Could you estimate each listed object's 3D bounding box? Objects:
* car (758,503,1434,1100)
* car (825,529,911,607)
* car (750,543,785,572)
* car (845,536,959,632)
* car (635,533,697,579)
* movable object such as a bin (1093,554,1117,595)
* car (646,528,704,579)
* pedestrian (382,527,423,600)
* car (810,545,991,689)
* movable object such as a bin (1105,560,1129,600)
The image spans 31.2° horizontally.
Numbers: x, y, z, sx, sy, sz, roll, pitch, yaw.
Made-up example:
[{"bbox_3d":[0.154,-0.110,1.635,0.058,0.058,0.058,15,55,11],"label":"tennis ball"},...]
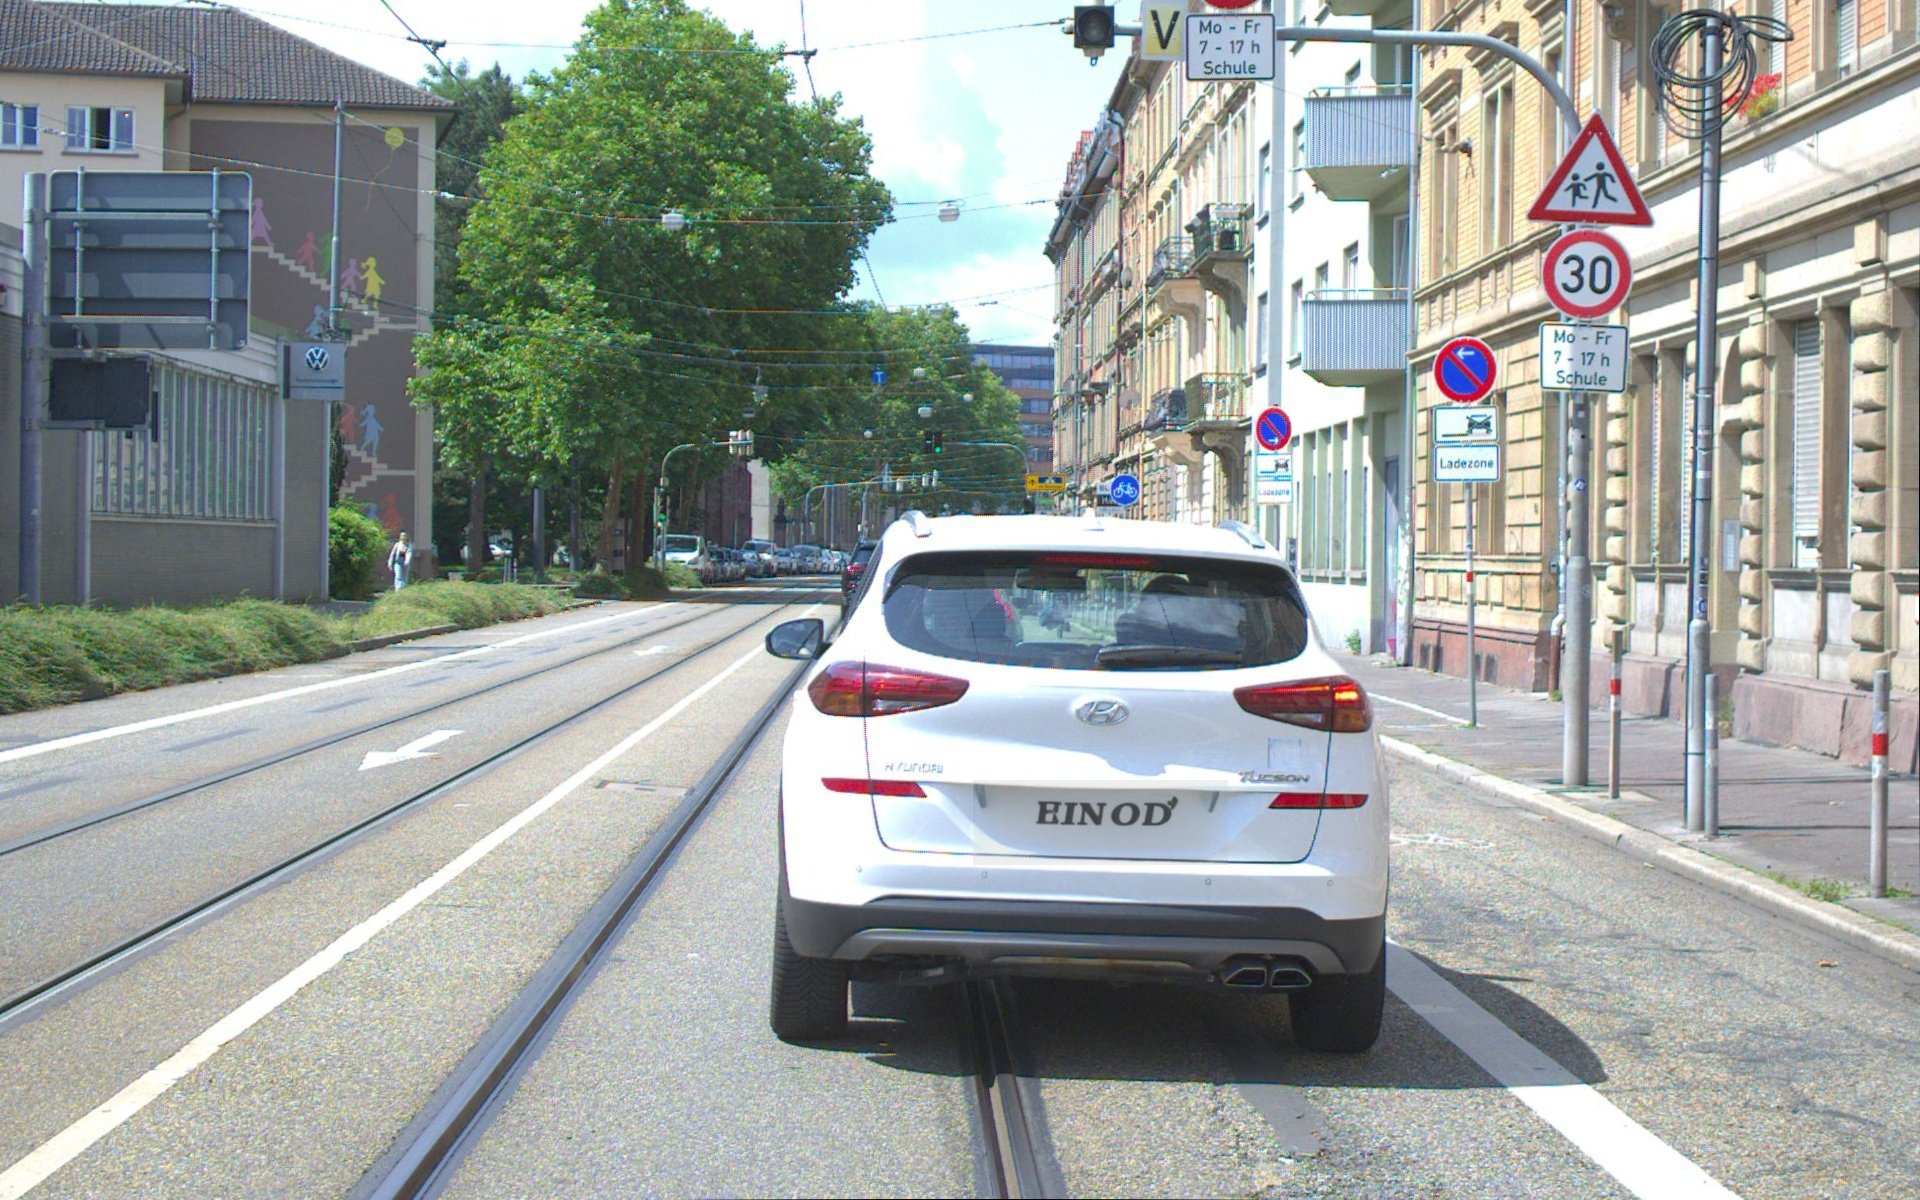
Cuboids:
[{"bbox_3d":[0.265,0.540,11.775,1.852,1.628,4.181,2,1,-3],"label":"car"},{"bbox_3d":[-2.016,-0.722,75.795,1.814,1.656,4.085,1,1,-1],"label":"car"},{"bbox_3d":[-11.126,-2.460,198.299,1.950,1.626,4.001,2,1,-3],"label":"car"},{"bbox_3d":[-0.955,-0.290,56.731,1.814,1.519,3.956,0,1,-1],"label":"car"},{"bbox_3d":[-10.944,-1.639,128.142,1.950,1.626,4.576,2,1,-1],"label":"car"},{"bbox_3d":[4.203,-0.742,99.820,0.612,1.139,0.638,2,1,-1],"label":"movable object such as a bin"},{"bbox_3d":[-11.114,-1.837,134.309,1.950,1.888,4.566,2,1,-1],"label":"car"},{"bbox_3d":[-14.155,-0.928,87.277,0.880,1.859,1.081,0,1,-1],"label":"pedestrian"},{"bbox_3d":[-0.619,0.153,38.817,1.814,1.519,4.085,1,1,2],"label":"car"},{"bbox_3d":[4.489,-0.578,98.394,0.612,1.139,0.638,2,1,-1],"label":"movable object such as a bin"}]
